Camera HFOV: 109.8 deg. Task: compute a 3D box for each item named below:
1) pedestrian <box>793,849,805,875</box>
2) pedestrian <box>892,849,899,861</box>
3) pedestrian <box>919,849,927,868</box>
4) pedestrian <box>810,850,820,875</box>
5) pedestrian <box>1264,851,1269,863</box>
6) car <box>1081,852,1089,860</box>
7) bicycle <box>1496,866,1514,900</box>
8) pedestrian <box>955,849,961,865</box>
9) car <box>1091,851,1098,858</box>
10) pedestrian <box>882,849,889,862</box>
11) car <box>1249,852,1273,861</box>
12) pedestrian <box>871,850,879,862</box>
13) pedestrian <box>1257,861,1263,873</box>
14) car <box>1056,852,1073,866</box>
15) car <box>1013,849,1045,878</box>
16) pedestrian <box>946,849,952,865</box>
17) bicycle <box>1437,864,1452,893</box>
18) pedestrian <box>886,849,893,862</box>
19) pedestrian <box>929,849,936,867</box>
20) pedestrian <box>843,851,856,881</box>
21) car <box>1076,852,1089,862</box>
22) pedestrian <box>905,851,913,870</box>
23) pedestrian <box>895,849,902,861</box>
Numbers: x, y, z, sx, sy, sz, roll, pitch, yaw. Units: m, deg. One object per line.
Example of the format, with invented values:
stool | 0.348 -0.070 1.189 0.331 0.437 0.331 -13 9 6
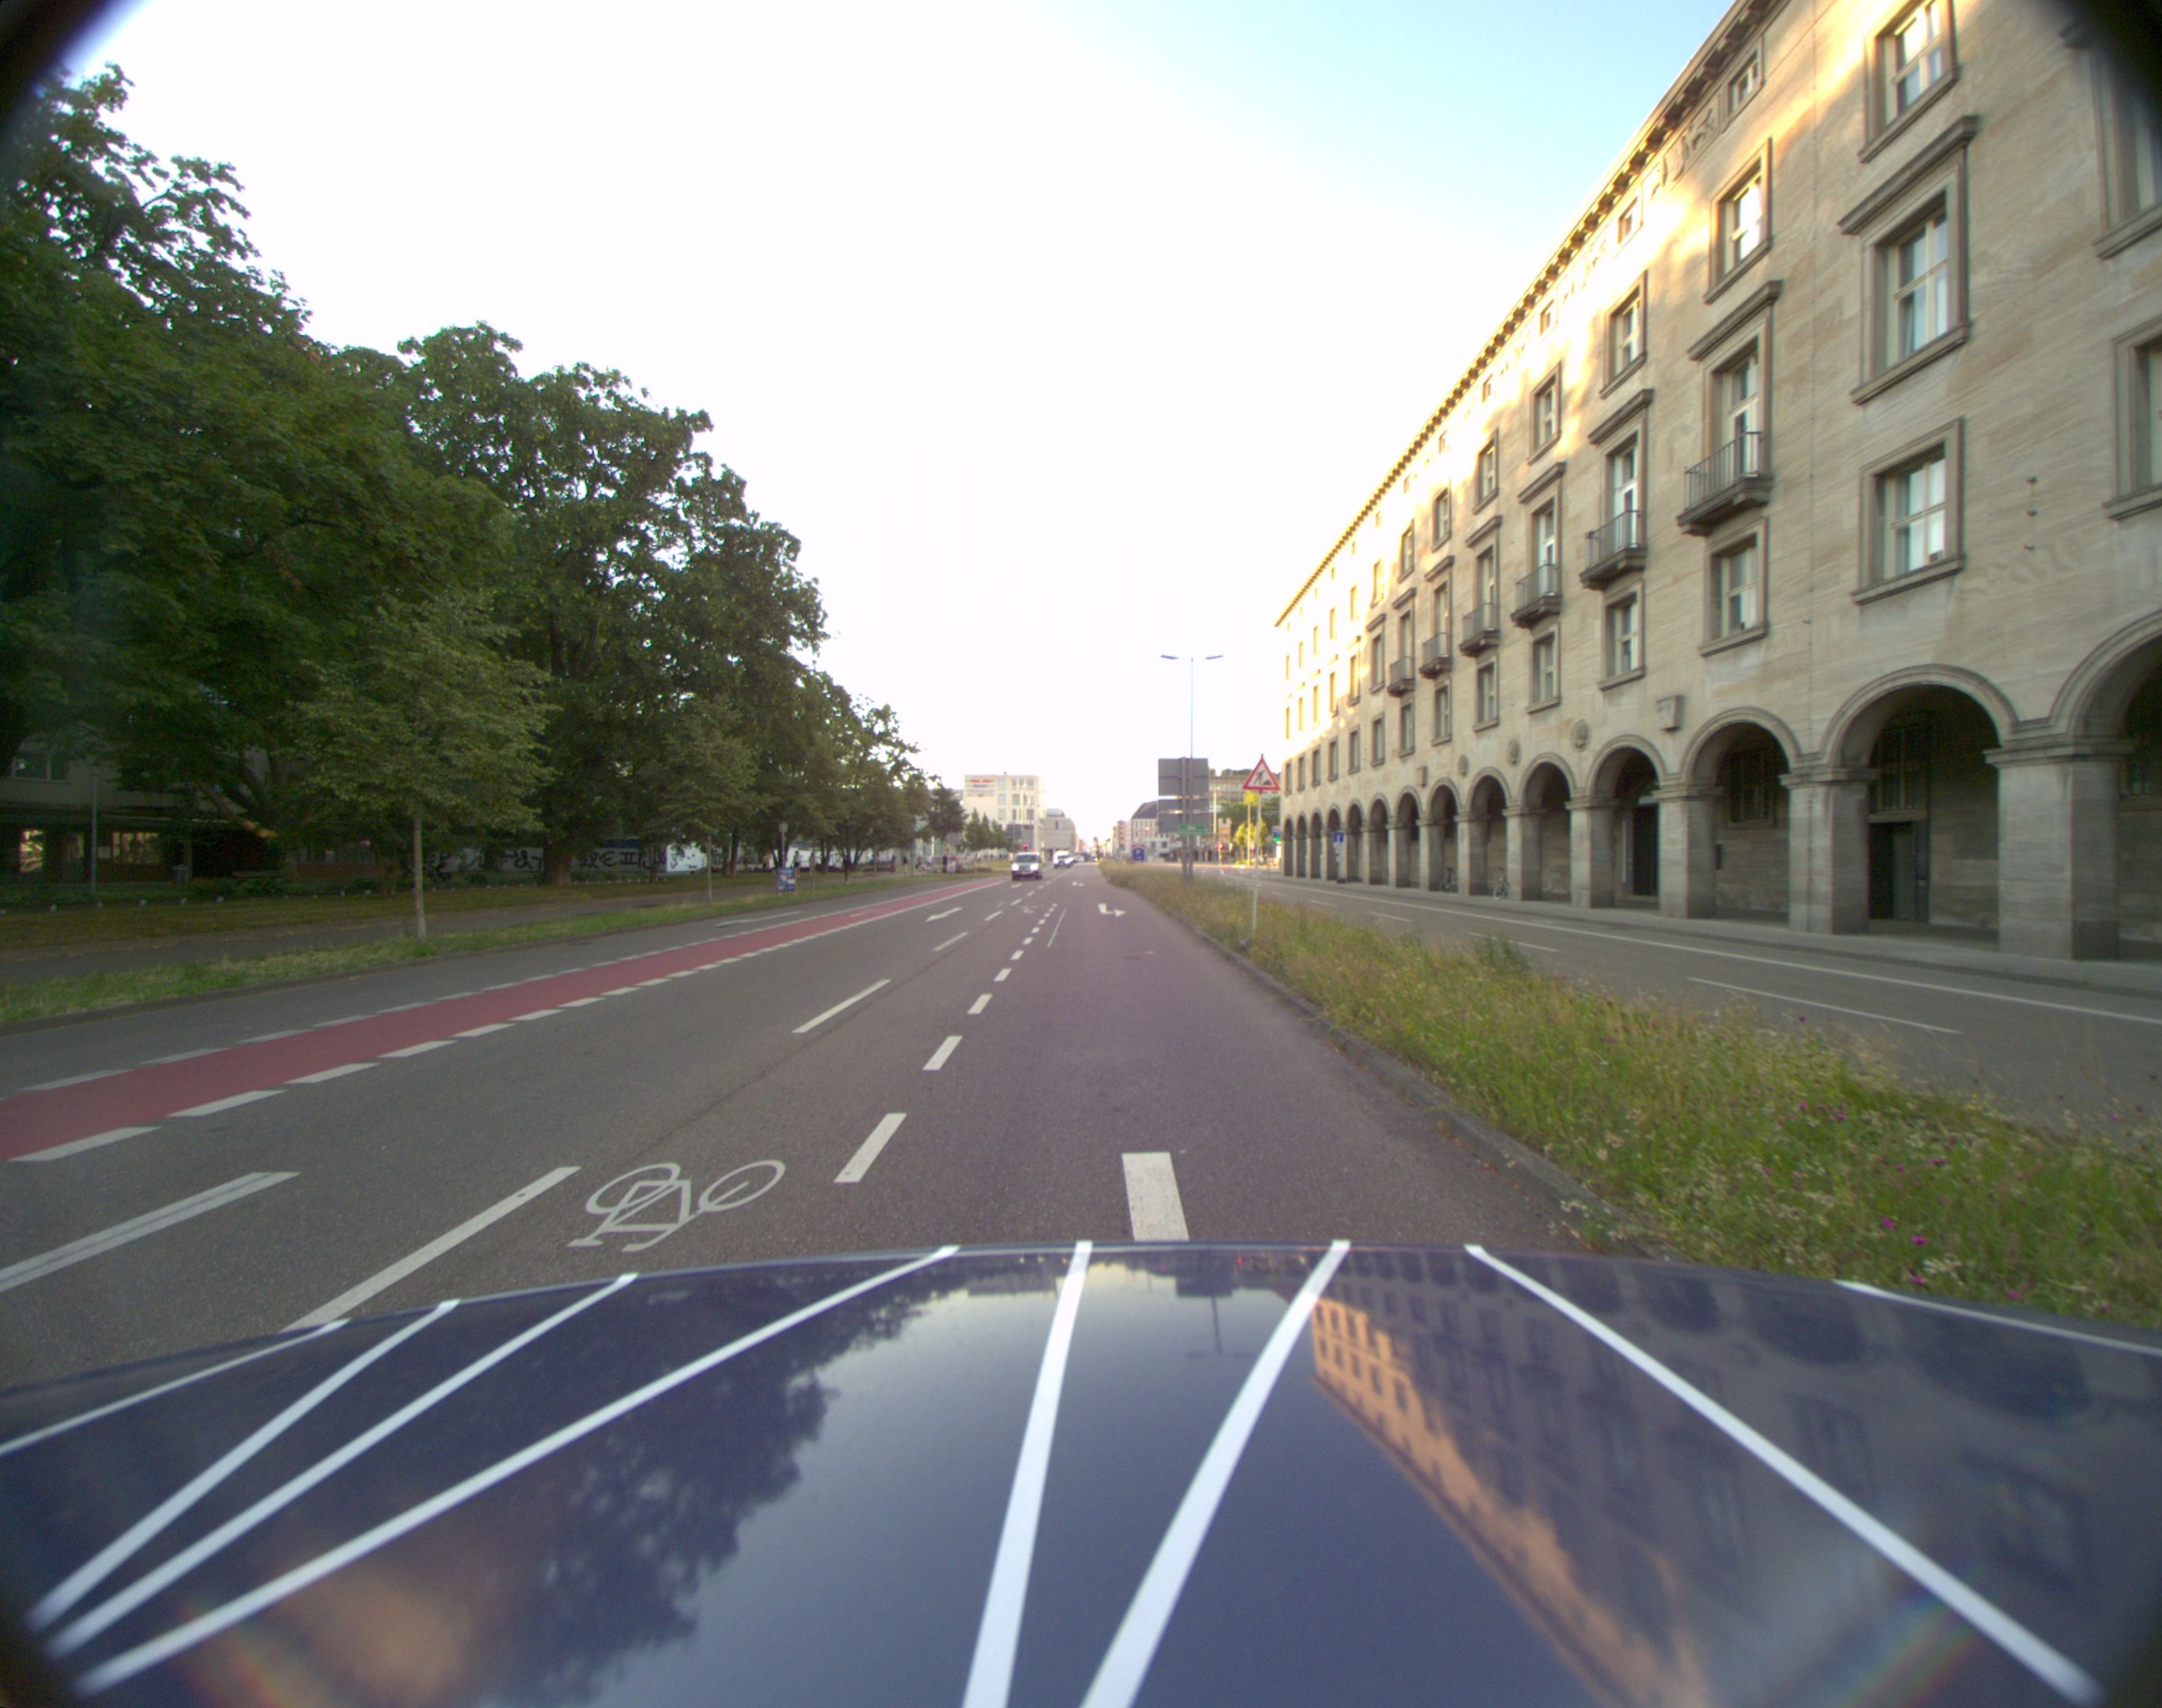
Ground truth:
pedestrian | -17.033 0.475 45.932 0.500 1.592 0.522 0 1 1
pedestrian | -20.806 0.126 85.286 0.654 1.347 0.505 0 1 1
pedestrian | -14.771 0.436 71.049 0.519 1.720 0.719 0 1 1
pedestrian | -16.498 0.523 47.134 0.500 1.592 0.365 0 1 1
pedestrian | 25.477 0.405 104.325 0.526 1.532 0.390 0 1 1
car | 0.971 0.489 172.281 1.782 1.676 4.215 0 0 1
bicycle | 15.395 1.037 27.587 0.513 1.115 2.427 0 1 30
pedestrian | -13.463 0.346 83.090 0.638 1.747 0.506 0 1 1
car | 4.229 0.057 241.223 1.998 2.297 5.089 0 0 1
pedestrian | -21.708 0.173 84.493 0.662 1.347 0.559 0 1 1
car | 34.316 0.468 144.665 4.029 1.599 1.998 0 0 -8
pedestrian | -22.792 0.248 84.043 0.728 1.347 0.614 0 1 1
pedestrian | 24.619 1.788 104.512 0.638 1.747 0.506 0 1 1
car | -1.968 0.588 90.552 1.826 1.612 4.336 0 0 0
car | -3.454 0.601 51.381 1.767 1.877 4.500 0 0 1
pedestrian | -14.419 0.373 83.085 0.638 1.747 0.506 0 1 1
bicycle | 15.392 1.018 32.205 0.513 1.172 2.427 0 0 25
pedestrian | -21.148 0.163 83.805 0.519 1.347 0.773 0 1 1
pedestrian | -13.805 0.362 70.778 0.509 1.720 0.719 0 1 1
pedestrian | -13.719 0.704 45.022 0.558 1.729 0.555 0 1 1
car | 0.205 0.542 127.814 1.783 1.676 4.213 0 0 -4
pedestrian | -14.935 0.559 65.958 0.509 1.720 0.719 0 1 1
pedestrian | -20.184 0.125 83.936 0.519 1.347 0.773 0 1 1
